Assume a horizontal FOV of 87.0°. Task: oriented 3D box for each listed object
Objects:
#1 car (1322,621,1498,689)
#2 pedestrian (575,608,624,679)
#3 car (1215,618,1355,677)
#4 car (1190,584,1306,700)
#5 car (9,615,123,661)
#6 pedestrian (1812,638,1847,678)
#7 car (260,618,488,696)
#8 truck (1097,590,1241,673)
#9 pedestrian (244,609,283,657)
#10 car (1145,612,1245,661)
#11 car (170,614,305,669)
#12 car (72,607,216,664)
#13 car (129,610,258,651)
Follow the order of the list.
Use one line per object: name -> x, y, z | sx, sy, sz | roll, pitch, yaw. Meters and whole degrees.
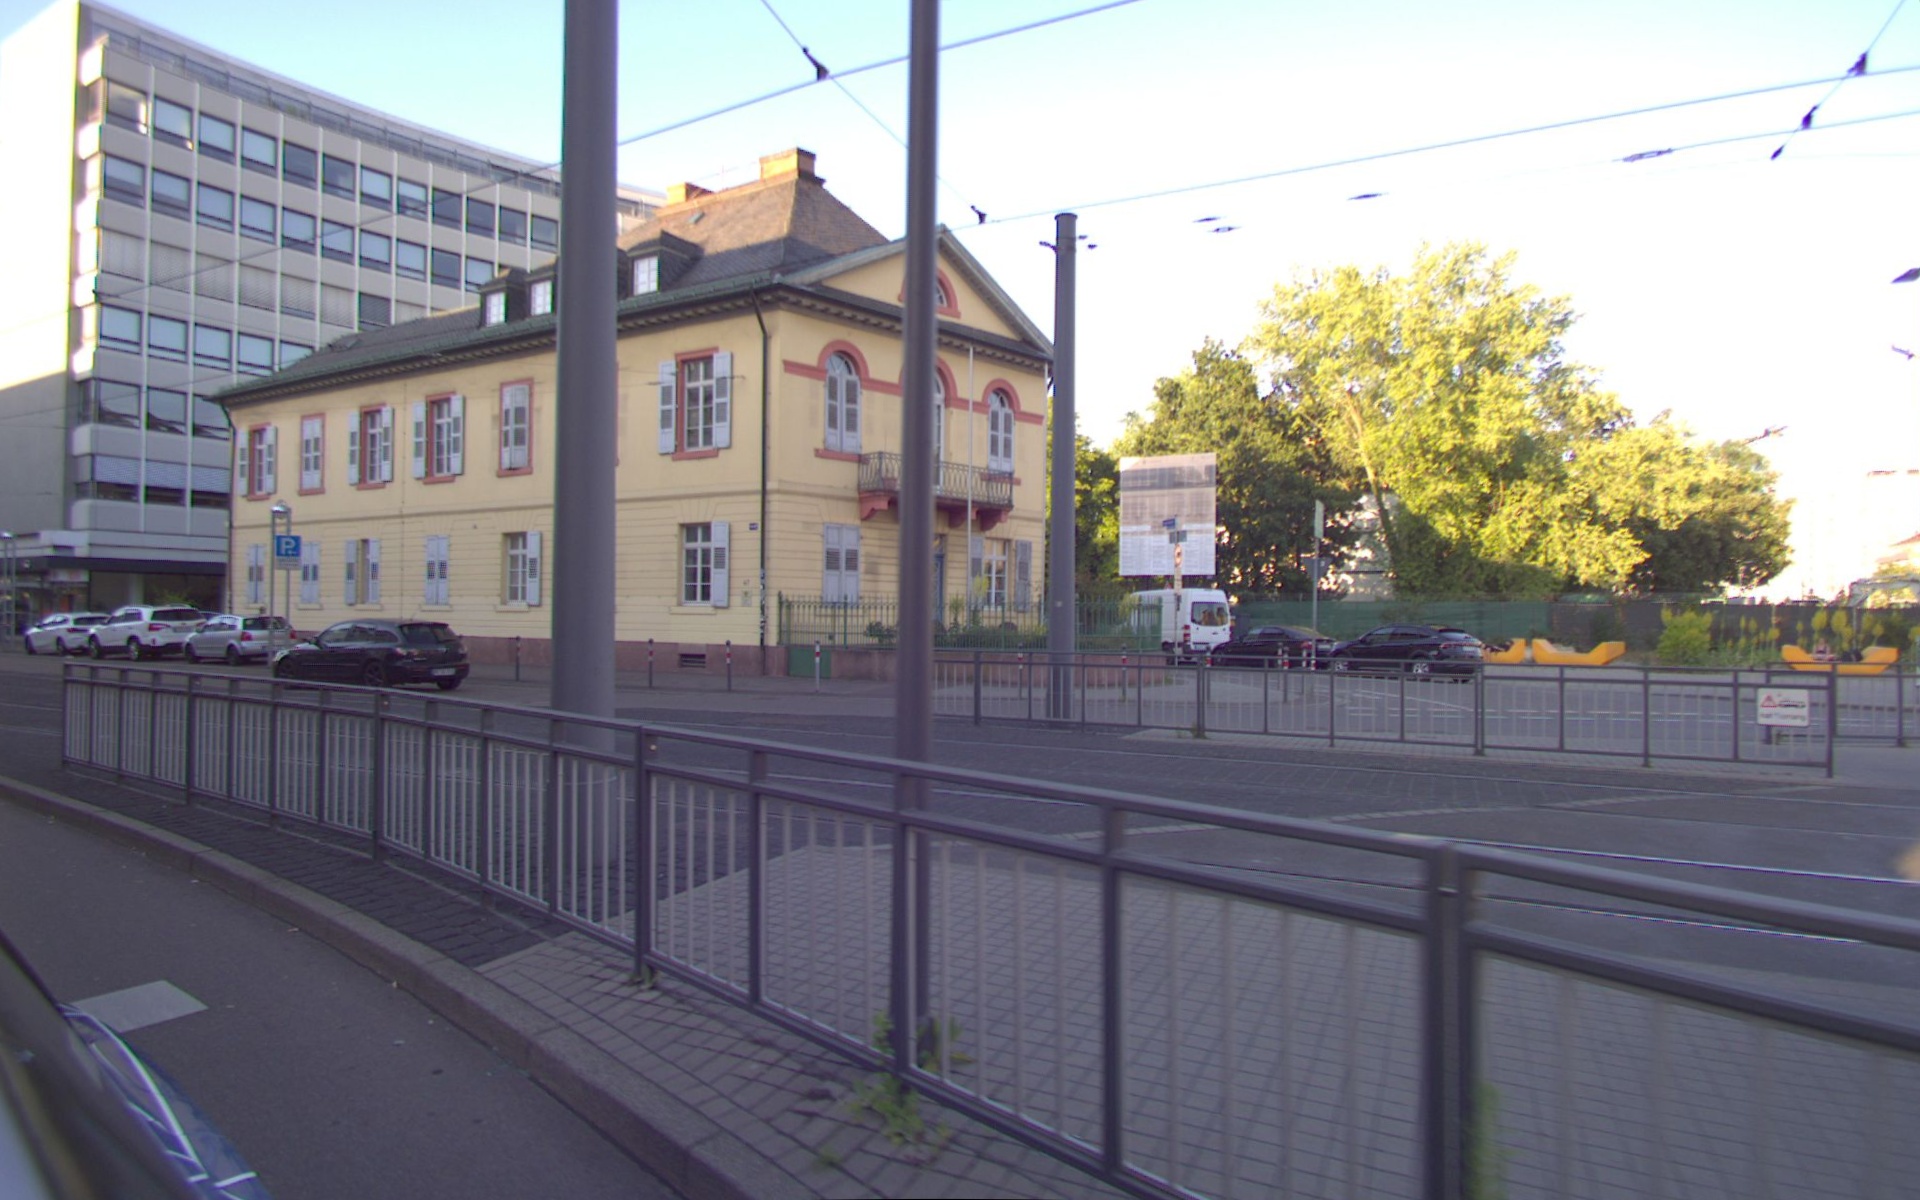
car -> 11.966, 1.403, 27.188 | 1.965, 1.558, 4.013 | 0, 1, -24
pedestrian -> -8.061, 0.974, 22.661 | 0.715, 1.548, 0.715 | 0, -2, 25
car -> 9.994, 1.412, 31.432 | 1.965, 1.589, 4.013 | 0, 1, -24
car -> 5.543, 0.779, 19.849 | 1.980, 2.029, 3.982 | 0, -1, 13
car -> -31.410, 1.290, 35.521 | 4.265, 1.464, 1.709 | 0, 0, 29
pedestrian -> 28.258, 1.874, 32.892 | 0.701, 1.220, 0.719 | 0, 0, 28
car -> -11.654, 1.063, 20.123 | 4.195, 1.387, 1.759 | 0, -1, 23
truck -> 7.375, 1.008, 36.328 | 2.158, 2.719, 5.484 | 0, 1, -26
pedestrian -> -22.974, 1.076, 33.375 | 0.874, 1.553, 0.793 | 0, 0, 32
car -> 10.295, 1.558, 44.346 | 3.978, 2.029, 1.982 | 0, -1, 26
car -> -21.303, 1.180, 29.817 | 3.983, 1.485, 1.736 | -1, 0, 30
car -> -26.021, 1.071, 32.253 | 4.738, 1.673, 1.875 | 0, 0, 28
car -> -32.528, 1.249, 43.077 | 1.905, 1.564, 3.963 | 0, 1, 27
